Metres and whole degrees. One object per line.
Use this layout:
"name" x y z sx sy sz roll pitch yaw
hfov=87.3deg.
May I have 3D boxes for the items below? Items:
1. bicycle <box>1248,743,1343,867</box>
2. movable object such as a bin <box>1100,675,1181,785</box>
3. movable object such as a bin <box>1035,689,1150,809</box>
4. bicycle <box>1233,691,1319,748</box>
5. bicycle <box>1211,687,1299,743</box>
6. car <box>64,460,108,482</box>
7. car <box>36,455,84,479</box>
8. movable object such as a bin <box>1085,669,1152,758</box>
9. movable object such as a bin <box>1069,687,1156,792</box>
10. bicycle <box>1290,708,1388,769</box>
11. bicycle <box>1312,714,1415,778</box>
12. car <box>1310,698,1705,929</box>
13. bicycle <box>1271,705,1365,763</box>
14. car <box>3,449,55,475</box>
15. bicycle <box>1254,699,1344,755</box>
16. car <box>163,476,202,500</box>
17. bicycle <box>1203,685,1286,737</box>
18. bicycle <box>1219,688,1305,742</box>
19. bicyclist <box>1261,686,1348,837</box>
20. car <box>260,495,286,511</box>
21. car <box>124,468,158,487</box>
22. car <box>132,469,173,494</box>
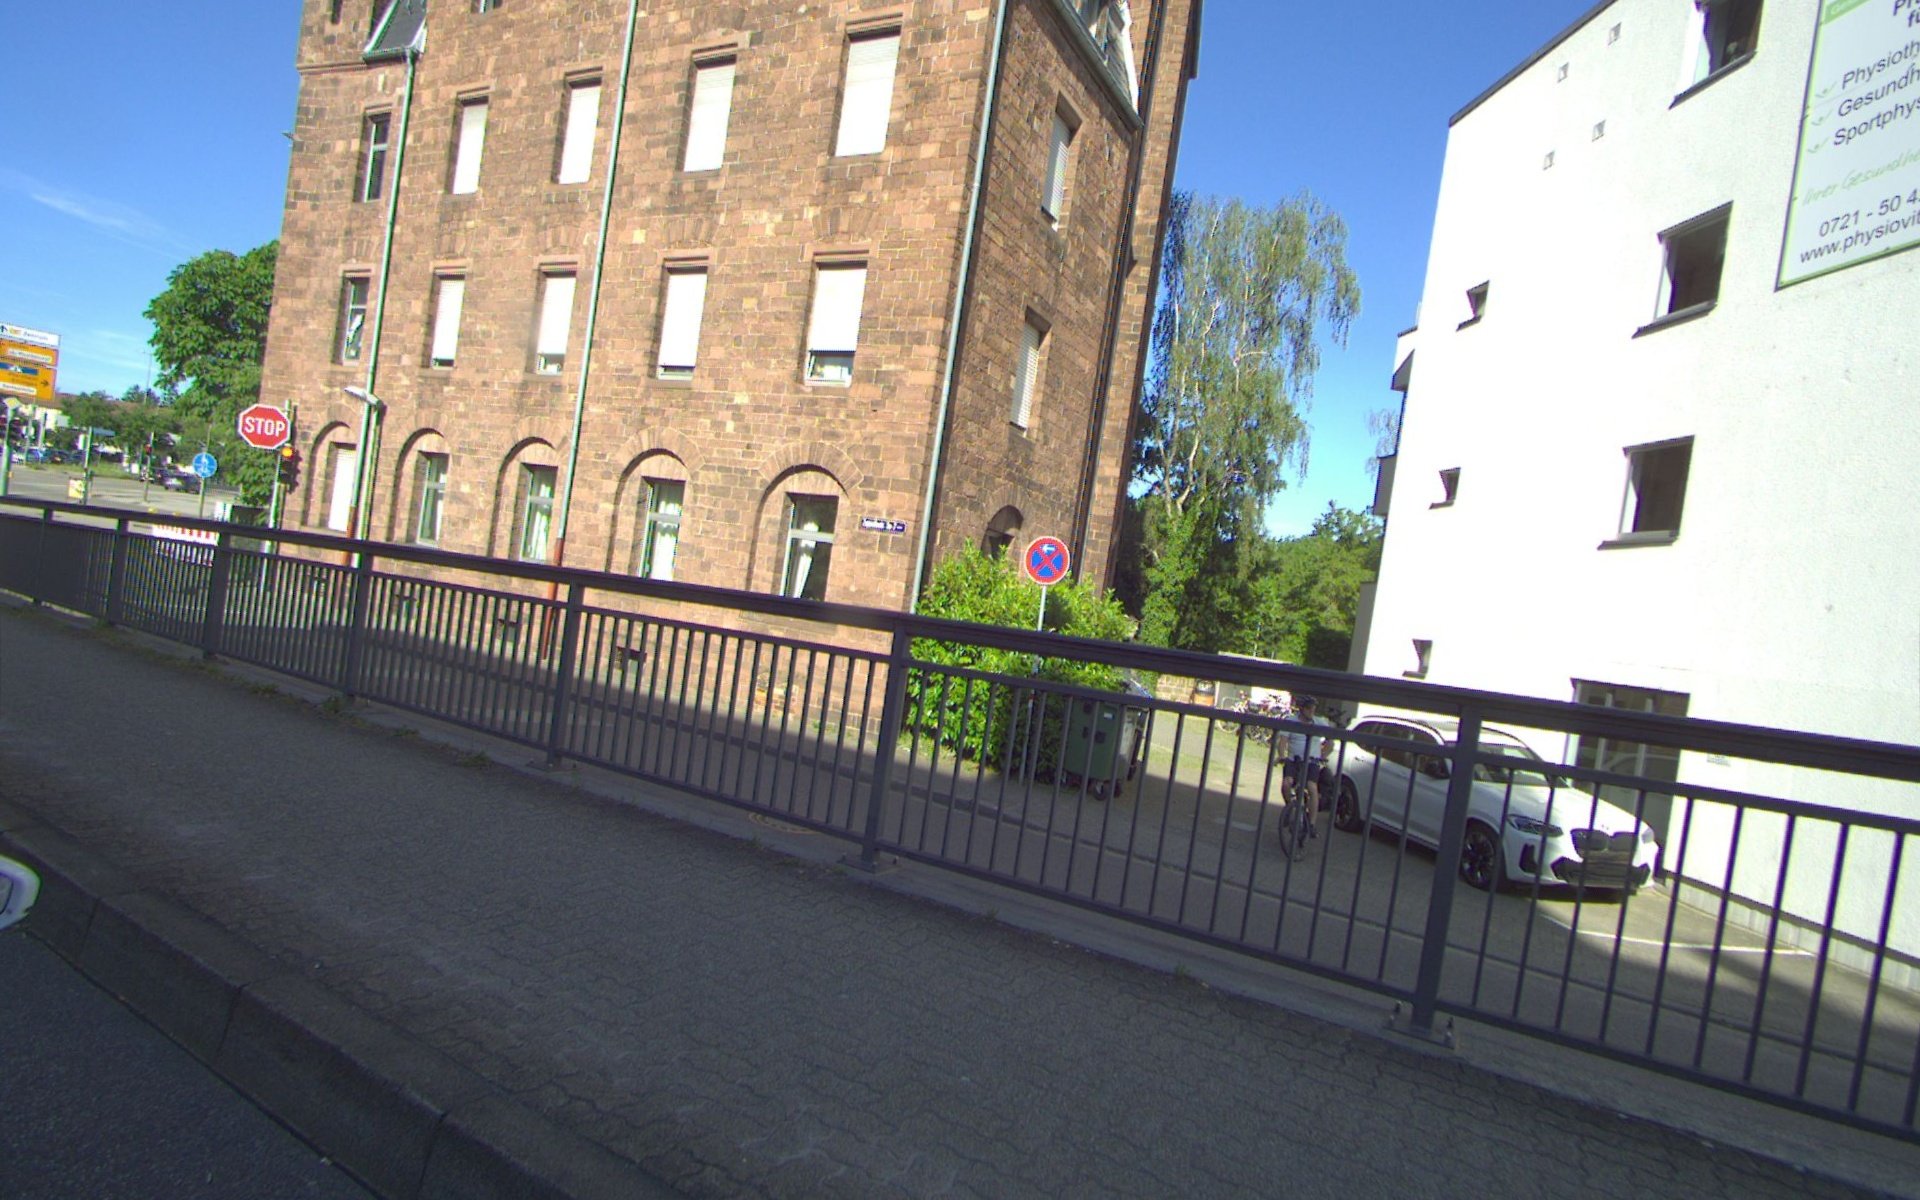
"bicycle" 3.991 2.358 11.871 0.678 1.154 1.838 9 -1 26
"movable object such as a bin" 2.945 2.079 16.297 1.009 1.539 1.007 10 0 14
"movable object such as a bin" 1.746 1.915 13.149 1.011 1.307 1.005 10 0 29
"bicycle" 8.182 3.087 26.098 1.889 1.174 0.664 8 1 -6
"bicycle" 7.918 3.089 27.030 2.075 1.174 0.664 8 1 -9
"car" -85.146 -12.533 98.059 1.860 1.598 3.977 8 1 -22
"car" -81.987 -12.128 91.711 1.860 1.598 3.977 8 1 -22
"movable object such as a bin" 3.178 2.244 20.093 1.009 1.539 1.007 10 0 14
"movable object such as a bin" 2.308 2.062 15.114 1.009 1.307 1.007 10 0 14
"bicycle" 8.653 3.158 23.017 1.889 1.065 0.664 8 1 -6
"bicycle" 8.860 3.203 22.103 1.889 1.065 0.664 8 1 -6
"car" 6.530 2.472 12.751 1.814 1.707 4.521 8 0 -10
"bicycle" 8.495 3.177 23.904 1.889 1.065 0.664 8 1 -6
"car" -79.552 -11.761 86.017 1.860 1.598 3.977 8 1 -22
"bicycle" 8.387 3.145 24.931 1.889 1.065 0.664 8 1 -6
"car" -65.791 -9.430 85.169 1.724 1.515 3.974 7 -1 -26
"bicycle" 8.170 3.196 28.916 2.075 1.174 0.664 8 1 -9
"bicycle" 8.416 3.196 28.064 2.075 1.174 0.664 8 1 -9
"bicyclist" 4.089 1.887 11.920 0.675 1.627 0.696 9 0 26
"car" -76.944 -10.915 112.663 1.979 1.382 4.277 8 2 -31
"car" -96.221 -14.383 118.256 1.860 1.598 3.977 8 1 -22
"car" -73.339 -10.750 91.447 1.868 1.565 3.977 8 -2 -25
